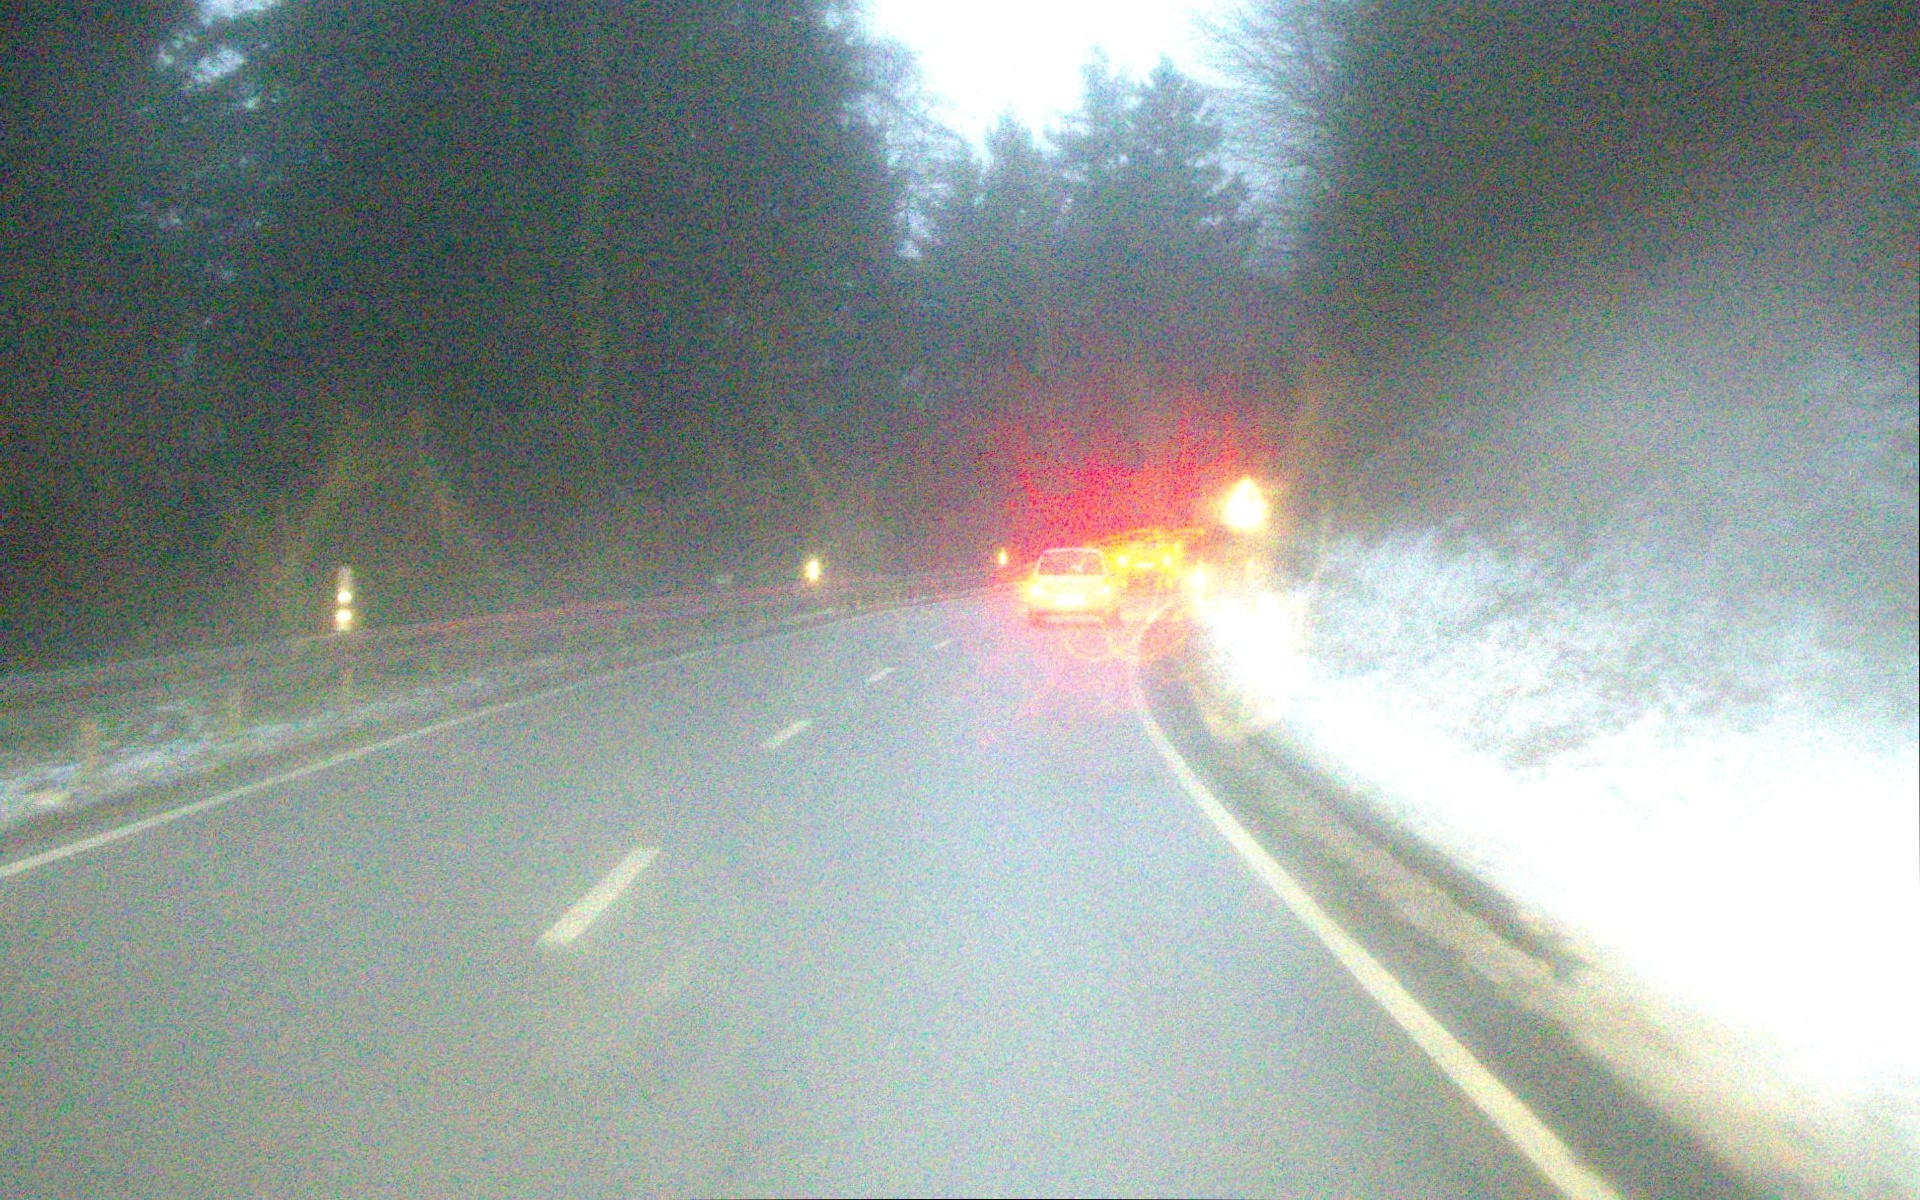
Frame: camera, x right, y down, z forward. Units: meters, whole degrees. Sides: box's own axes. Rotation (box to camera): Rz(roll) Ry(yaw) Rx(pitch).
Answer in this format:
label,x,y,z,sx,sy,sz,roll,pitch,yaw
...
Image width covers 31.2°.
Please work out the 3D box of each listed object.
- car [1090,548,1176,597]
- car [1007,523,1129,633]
label,x,y,z,sx,sy,sz,roll,pitch,yaw
car,5.047,-0.828,100.816,1.993,1.305,4.001,-3,1,-4
car,2.018,-0.438,63.196,1.994,1.866,4.000,-3,1,4
